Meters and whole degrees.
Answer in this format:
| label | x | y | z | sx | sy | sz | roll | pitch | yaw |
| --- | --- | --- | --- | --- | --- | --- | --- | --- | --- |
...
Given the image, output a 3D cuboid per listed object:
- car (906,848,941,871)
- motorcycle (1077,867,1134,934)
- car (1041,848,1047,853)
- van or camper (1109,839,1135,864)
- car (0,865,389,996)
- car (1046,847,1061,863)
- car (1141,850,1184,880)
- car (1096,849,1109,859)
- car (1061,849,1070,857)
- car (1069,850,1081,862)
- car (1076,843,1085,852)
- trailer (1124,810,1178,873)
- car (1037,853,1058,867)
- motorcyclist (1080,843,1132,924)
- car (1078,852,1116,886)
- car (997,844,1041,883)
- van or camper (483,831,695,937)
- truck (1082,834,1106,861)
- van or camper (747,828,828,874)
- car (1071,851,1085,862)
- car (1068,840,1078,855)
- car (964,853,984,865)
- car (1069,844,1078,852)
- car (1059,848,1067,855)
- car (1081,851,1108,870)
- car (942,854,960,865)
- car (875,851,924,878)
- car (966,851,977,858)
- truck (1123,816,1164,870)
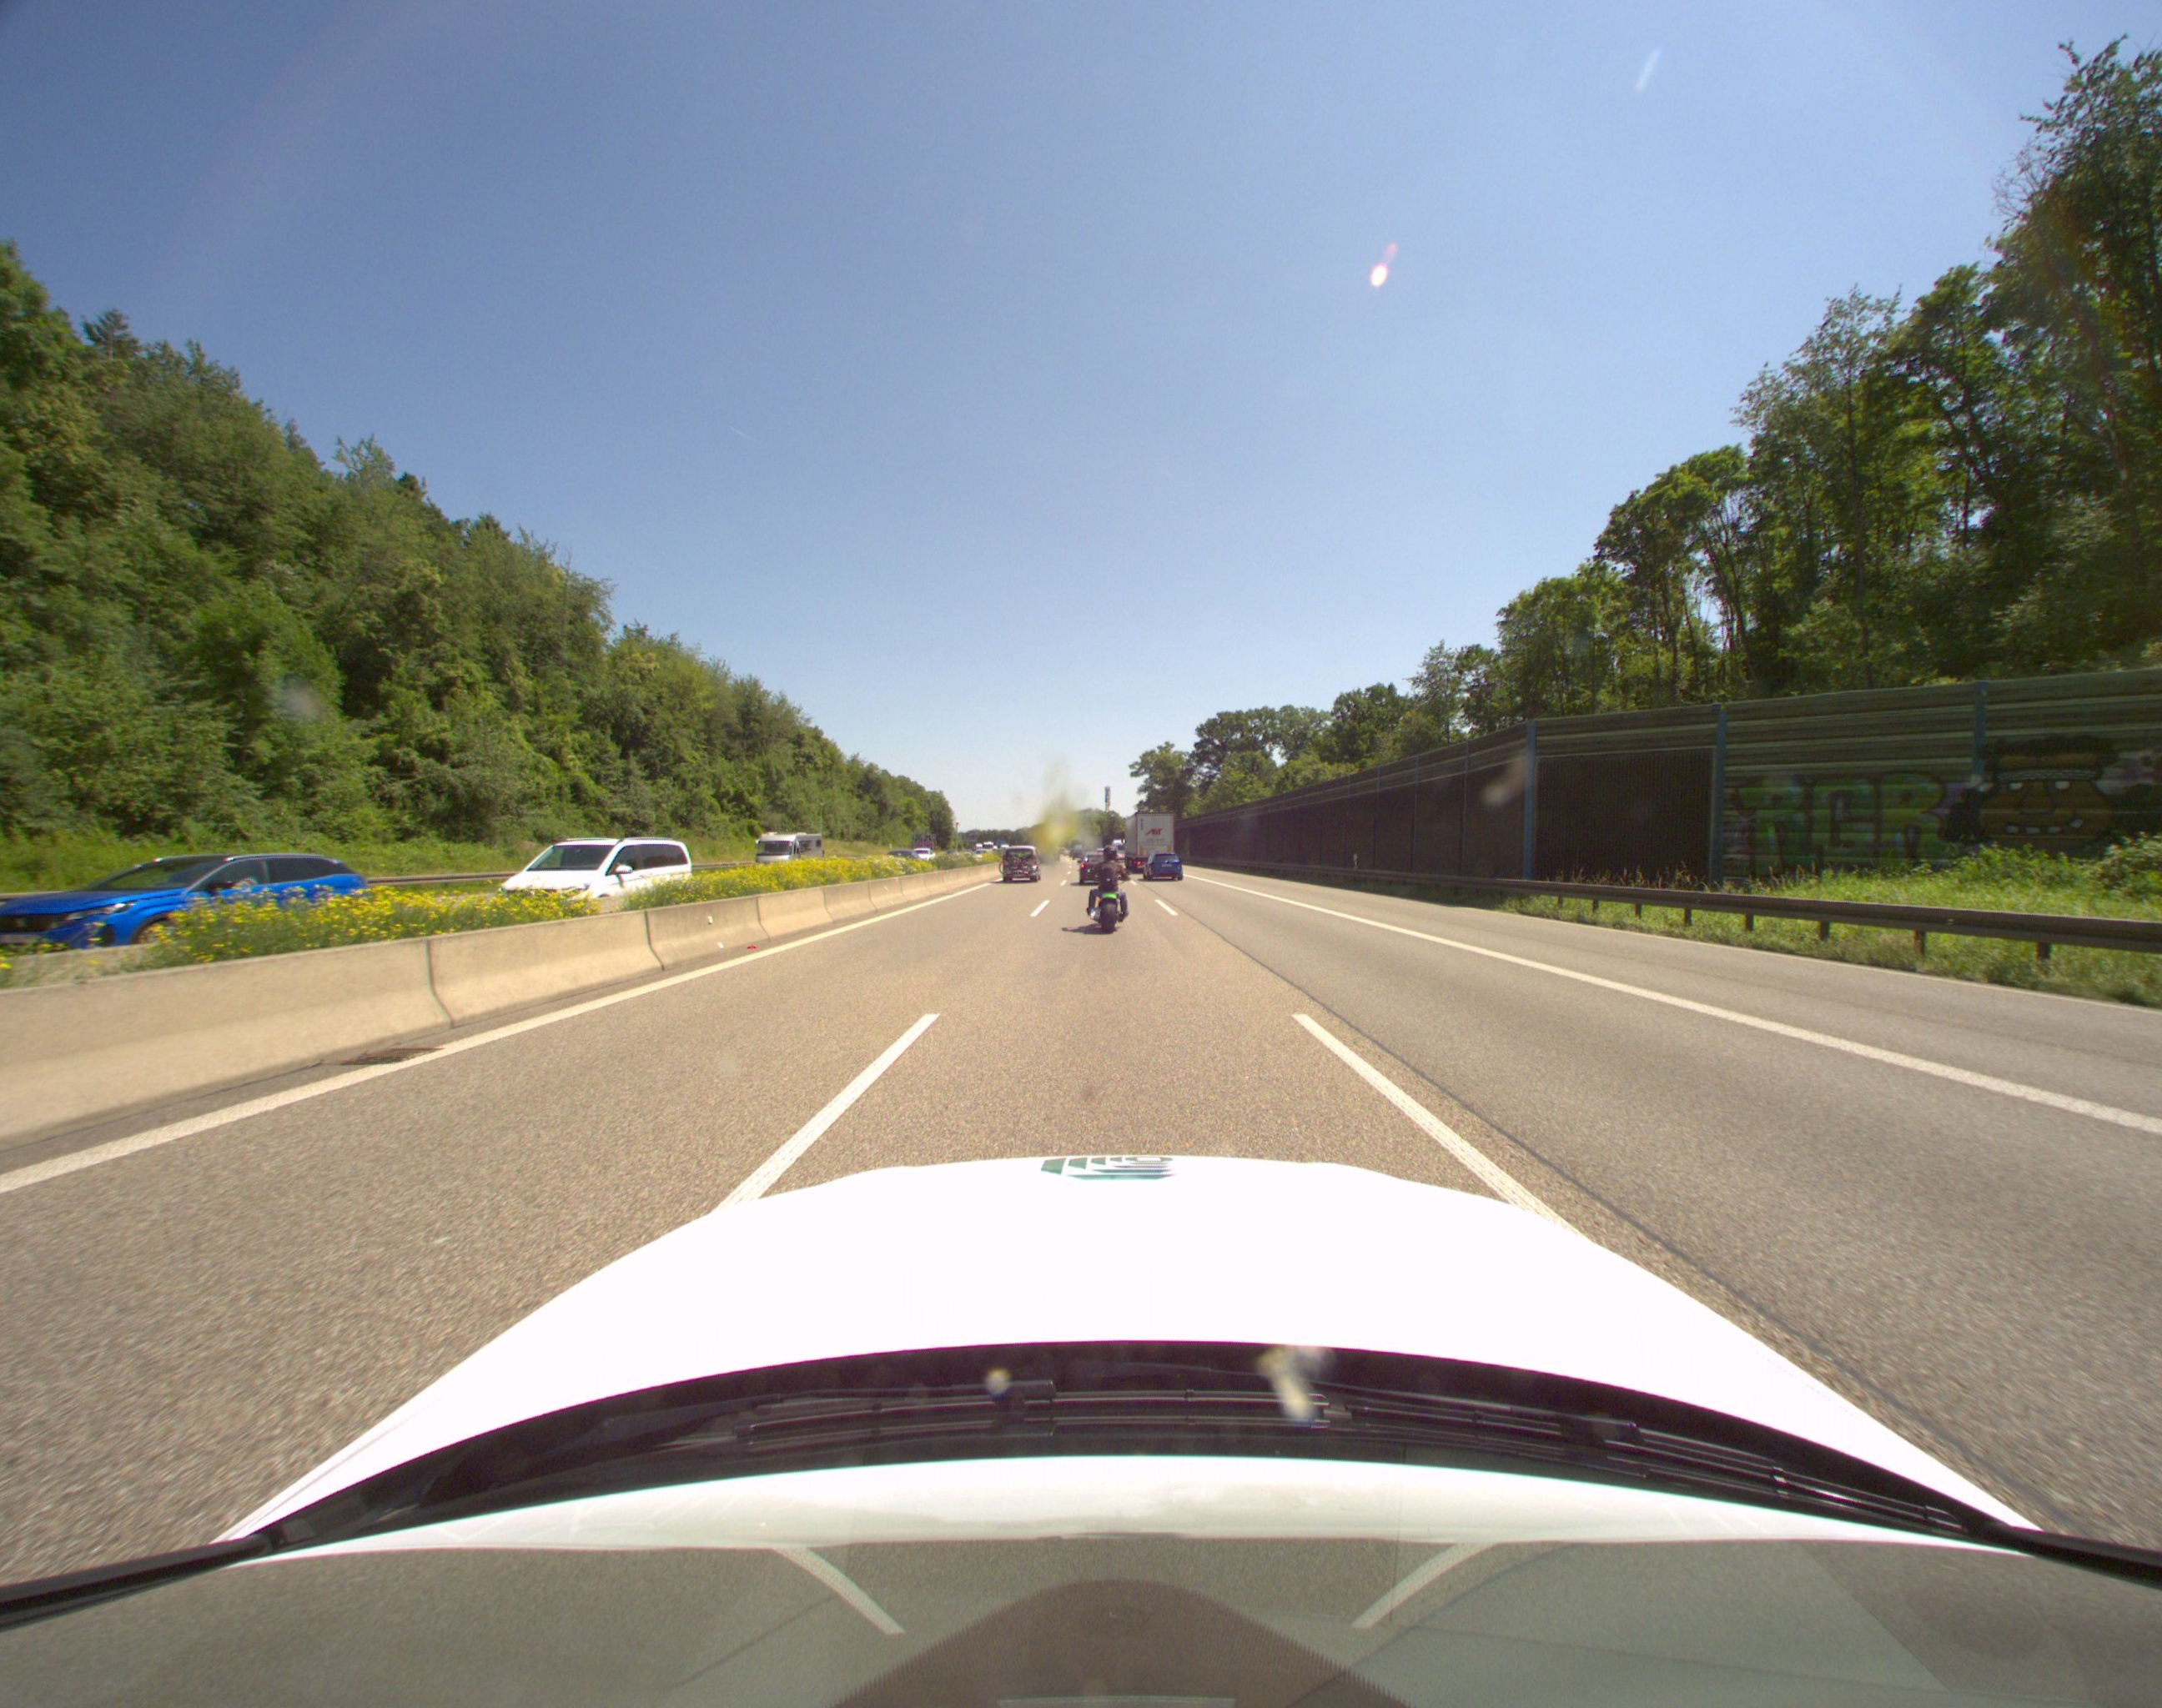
| label | x | y | z | sx | sy | sz | roll | pitch | yaw |
| --- | --- | --- | --- | --- | --- | --- | --- | --- | --- |
| car | -13.835 | 0.509 | 71.972 | 1.985 | 2.014 | 4.570 | -1 | -1 | 3 |
| motorcycle | 0.535 | 0.861 | 16.019 | 0.960 | 1.148 | 2.815 | 0 | 0 | 5 |
| car | -11.301 | -1.133 | 248.416 | 1.830 | 1.496 | 3.736 | -1 | -1 | -6 |
| van or camper | 4.748 | -0.230 | 95.315 | 2.676 | 2.813 | 6.801 | -1 | -1 | 0 |
| car | -13.779 | 1.032 | 12.804 | 1.987 | 1.690 | 4.401 | -1 | -1 | 1 |
| car | -3.574 | 0.138 | 106.570 | 1.786 | 2.014 | 3.640 | -1 | -1 | -1 |
| car | 4.213 | 0.575 | 42.679 | 1.646 | 1.483 | 4.478 | -1 | -1 | -1 |
| car | 3.676 | -0.003 | 136.762 | 1.988 | 1.574 | 3.998 | -1 | -1 | -1 |
| car | -3.177 | -0.163 | 169.819 | 1.827 | 1.496 | 3.742 | -1 | -1 | -1 |
| car | -1.049 | 0.351 | 144.372 | 1.906 | 2.014 | 3.687 | -1 | -1 | -2 |
| car | -0.069 | -1.590 | 201.170 | 2.102 | 1.876 | 3.996 | -1 | -1 | -2 |
| trailer | 4.912 | -0.840 | 59.642 | 2.876 | 4.038 | 13.796 | -1 | 0 | 1 |
| car | -3.407 | 0.645 | 83.581 | 1.987 | 1.387 | 3.998 | -1 | -1 | -1 |
| motorcyclist | 0.514 | 0.556 | 15.798 | 0.895 | 1.475 | 1.874 | -1 | -1 | 5 |
| car | 0.746 | 0.695 | 38.218 | 1.657 | 1.453 | 3.869 | -1 | -1 | 1 |
| car | -3.128 | 0.474 | 41.667 | 1.893 | 1.874 | 4.411 | -1 | -1 | 0 |
| van or camper | -10.618 | 0.613 | 18.061 | 1.876 | 2.014 | 4.587 | -1 | -1 | 0 |
| truck | 2.425 | -1.154 | 152.852 | 3.794 | 4.960 | 8.940 | -1 | -1 | -3 |
| van or camper | -17.653 | -0.101 | 49.410 | 2.178 | 2.560 | 6.935 | -1 | -1 | 2 |
| car | -0.418 | 0.381 | 118.412 | 1.987 | 1.640 | 3.998 | -1 | -1 | -1 |
| car | -2.144 | -1.661 | 216.393 | 2.129 | 3.861 | 8.132 | 0 | 0 | -3 |
| car | -14.354 | 0.647 | 109.534 | 1.987 | 1.590 | 4.162 | -1 | -1 | 0 |
| car | -1.818 | -1.480 | 206.828 | 2.102 | 1.876 | 3.996 | -1 | -1 | -2 |
| car | -4.293 | -0.584 | 197.085 | 1.826 | 1.496 | 3.742 | -1 | -1 | 0 |
| car | 1.025 | 0.514 | 63.511 | 1.987 | 1.430 | 3.847 | -1 | -1 | 0 |
| car | -18.160 | 0.725 | 113.831 | 1.782 | 1.456 | 4.000 | -1 | -1 | 0 |
| car | -10.393 | 0.569 | 46.901 | 1.801 | 1.486 | 3.858 | -1 | 0 | 3 |
| car | -24.508 | 0.098 | 183.178 | 1.988 | 1.432 | 4.189 | -1 | 0 | -2 |
| truck | 5.031 | -0.878 | 66.531 | 2.876 | 4.146 | 5.986 | -1 | 0 | 1 |
